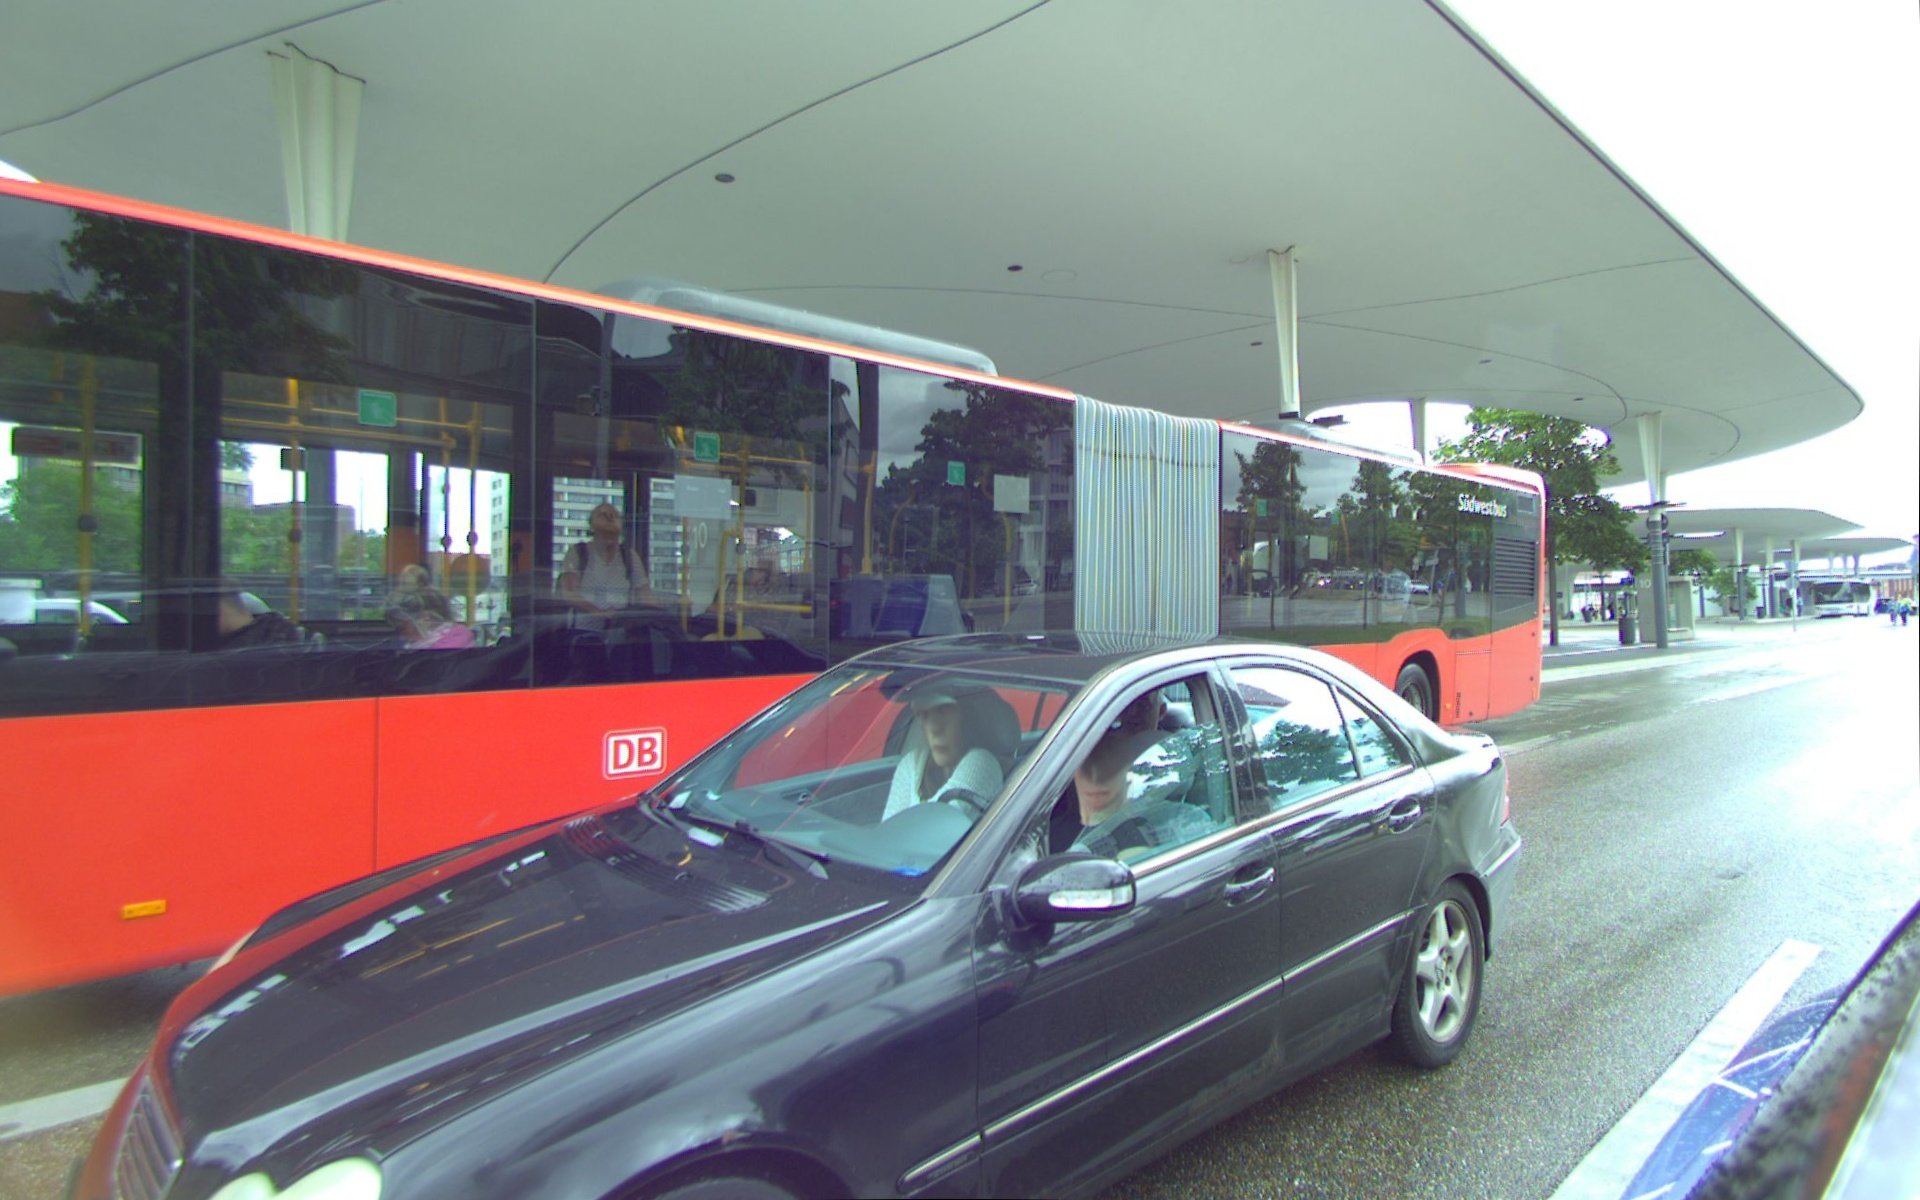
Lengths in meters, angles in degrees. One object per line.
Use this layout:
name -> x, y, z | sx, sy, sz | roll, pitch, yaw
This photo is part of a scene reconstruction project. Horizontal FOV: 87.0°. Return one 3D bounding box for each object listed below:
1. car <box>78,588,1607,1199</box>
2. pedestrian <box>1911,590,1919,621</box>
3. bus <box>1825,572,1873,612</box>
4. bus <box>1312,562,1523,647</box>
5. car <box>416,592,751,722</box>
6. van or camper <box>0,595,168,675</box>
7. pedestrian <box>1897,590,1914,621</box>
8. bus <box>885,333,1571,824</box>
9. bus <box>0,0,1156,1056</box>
car -> 0.196, 0.776, 3.156 | 4.356, 1.499, 1.749 | -1, -2, -39
pedestrian -> 50.816, 0.275, 53.606 | 0.543, 1.645, 0.556 | 0, -1, -41
bus -> 75.370, -0.642, 85.718 | 2.666, 3.169, 9.565 | -1, -1, 43
bus -> 20.040, 0.192, 43.743 | 12.131, 3.147, 3.001 | 0, -4, -39
car -> -5.511, 0.761, 15.139 | 4.356, 1.670, 1.803 | 0, -2, -41
van or camper -> -29.778, 1.103, 33.231 | 5.868, 2.495, 2.106 | 0, -1, -41
pedestrian -> 50.654, 0.299, 54.226 | 0.577, 1.645, 0.576 | 0, -1, -41
bus -> 3.256, -0.155, 10.298 | 7.978, 3.214, 2.747 | 0, 0, -41
bus -> -3.376, -0.233, 4.464 | 10.016, 3.214, 2.747 | 0, 0, -41
